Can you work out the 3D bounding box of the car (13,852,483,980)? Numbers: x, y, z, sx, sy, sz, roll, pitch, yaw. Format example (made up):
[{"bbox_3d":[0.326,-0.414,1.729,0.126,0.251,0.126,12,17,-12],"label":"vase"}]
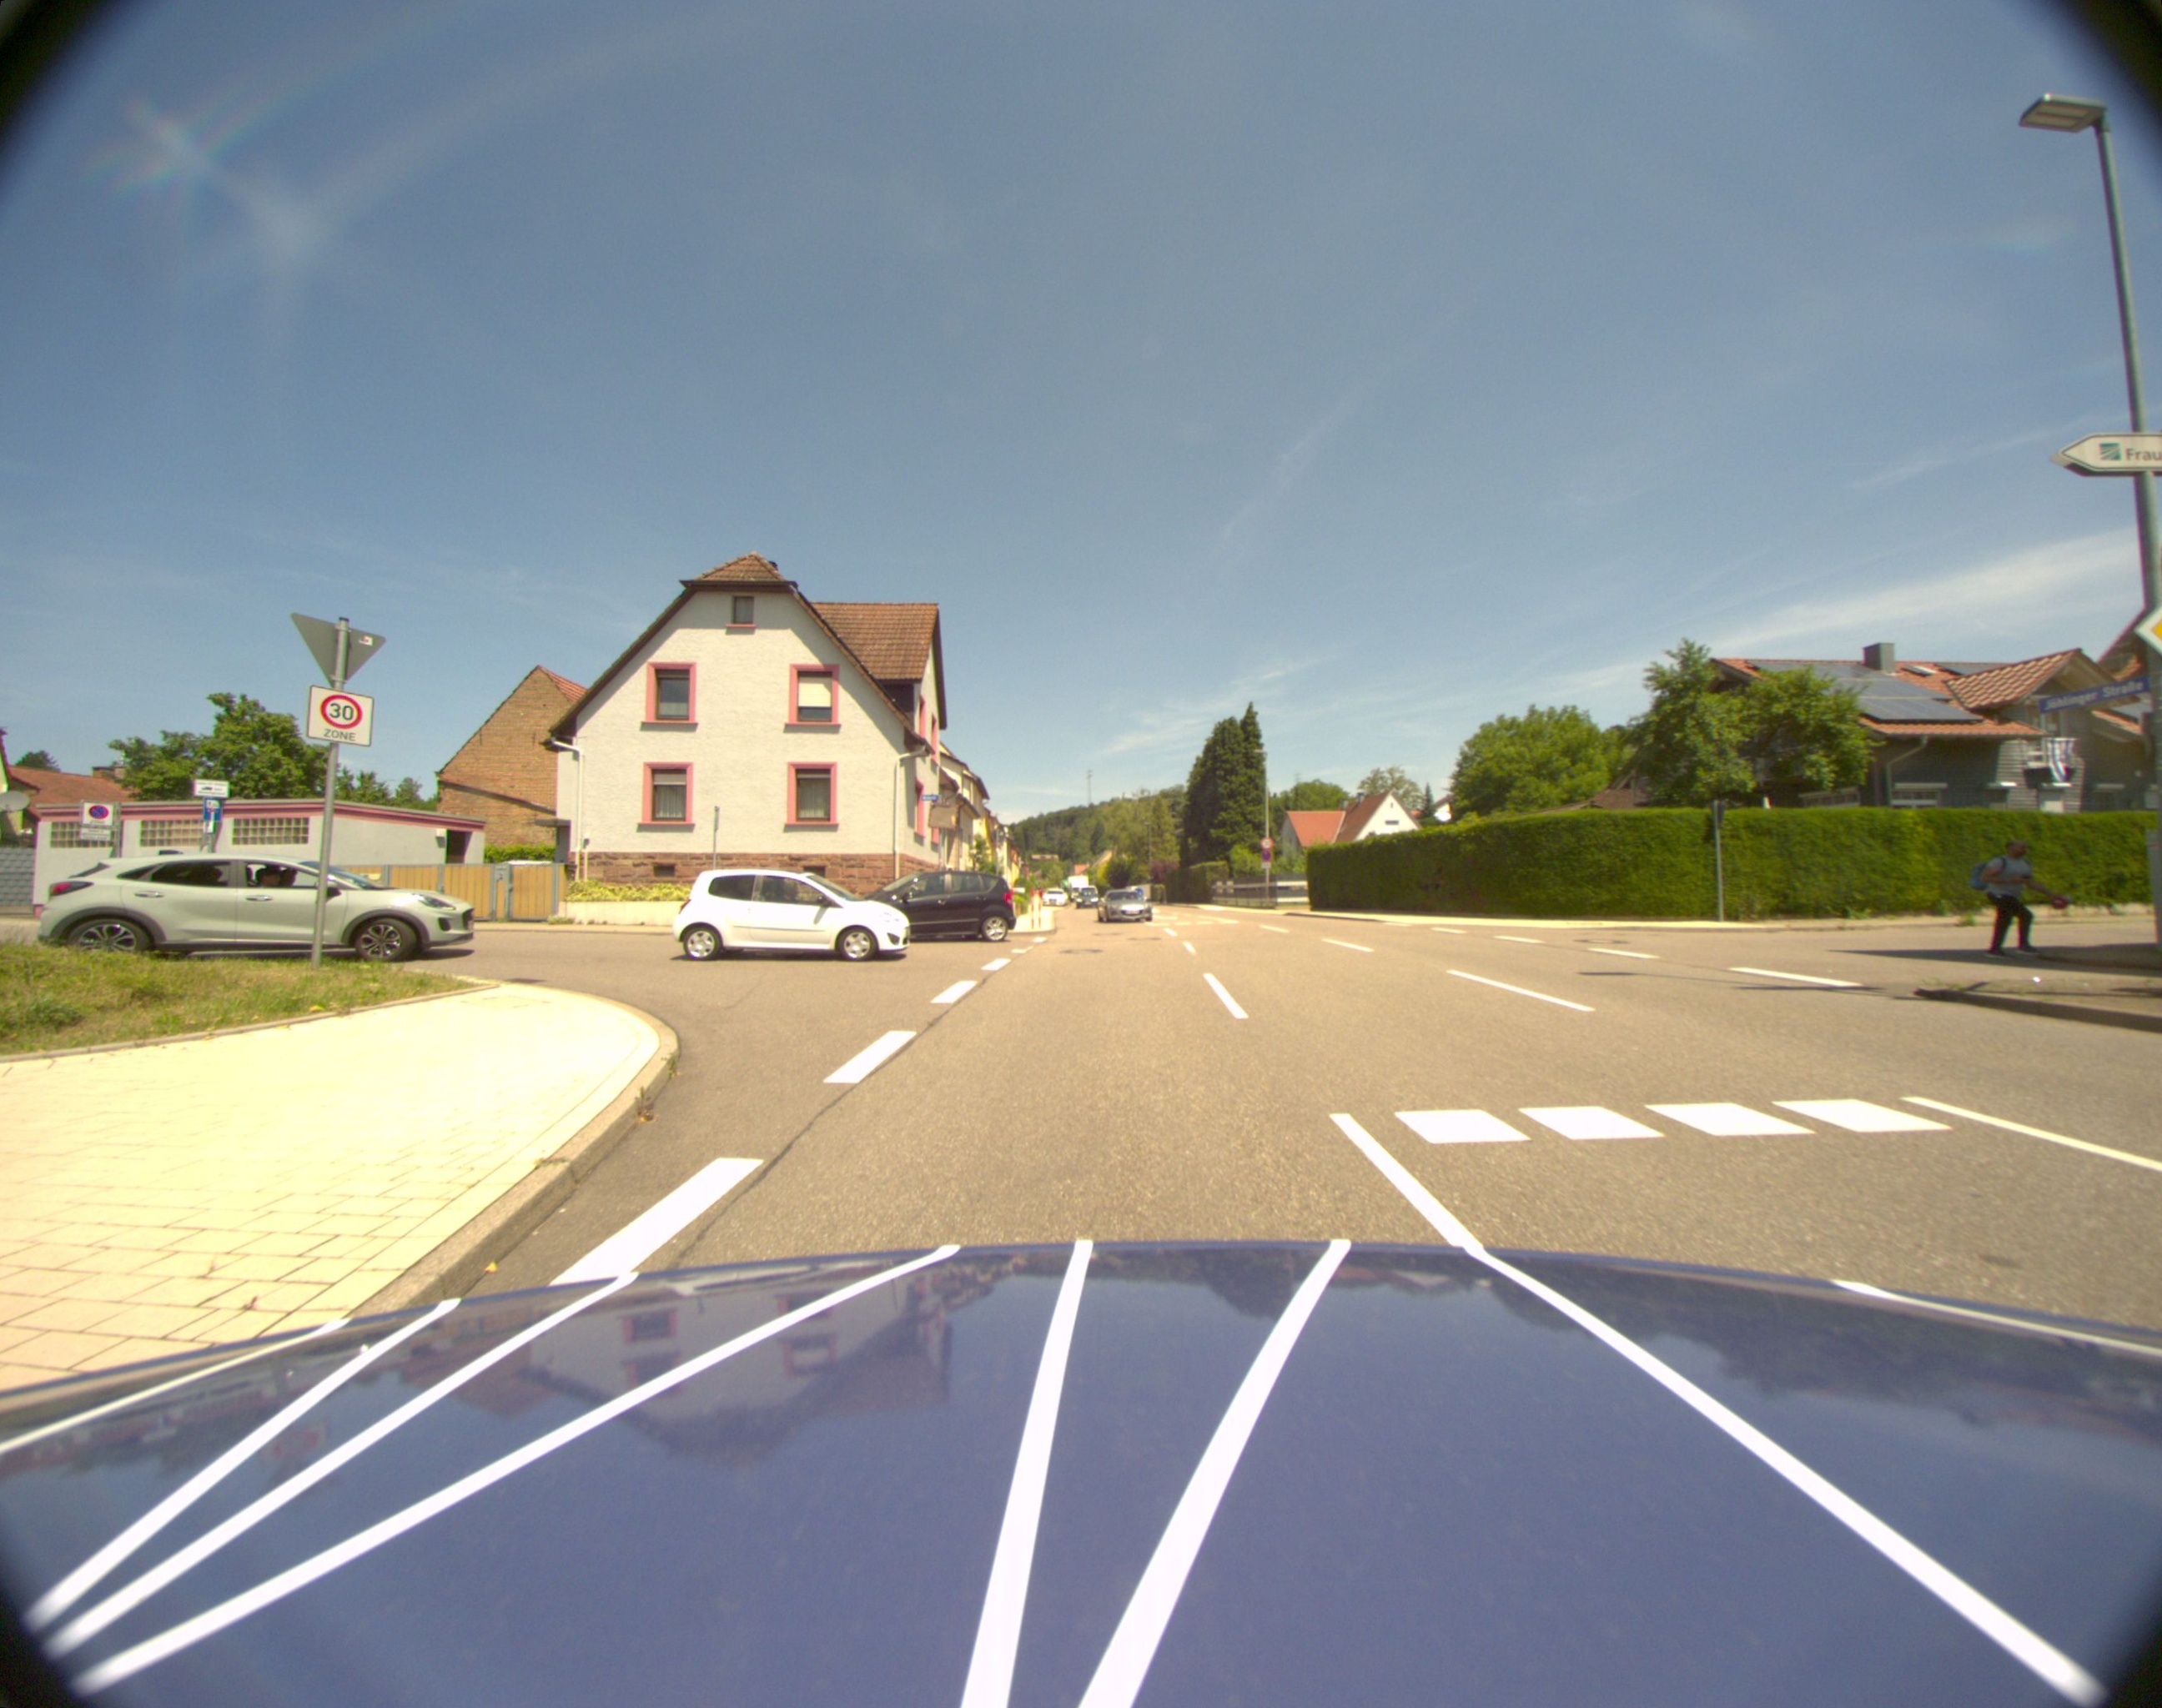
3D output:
[{"bbox_3d":[-11.396,0.861,10.909,4.134,1.526,1.772,3,-2,-30],"label":"car"}]

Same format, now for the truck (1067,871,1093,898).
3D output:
[{"bbox_3d":[-0.215,4.101,102.665,3.150,3.465,8.274,-1,-2,-2],"label":"truck"}]

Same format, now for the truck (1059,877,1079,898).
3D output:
[{"bbox_3d":[-2.075,5.698,127.916,3.150,3.465,8.274,-1,-3,-2],"label":"truck"}]

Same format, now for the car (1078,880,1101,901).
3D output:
[{"bbox_3d":[0.821,3.766,78.789,1.999,2.001,4.549,-2,-2,-4],"label":"car"}]

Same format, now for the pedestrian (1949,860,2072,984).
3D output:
[{"bbox_3d":[13.610,0.963,11.147,0.729,1.719,0.856,-2,0,-4],"label":"pedestrian"}]

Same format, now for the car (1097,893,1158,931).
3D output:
[{"bbox_3d":[1.728,2.215,29.559,1.911,1.296,4.158,-2,-3,-3],"label":"car"}]

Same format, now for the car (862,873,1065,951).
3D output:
[{"bbox_3d":[-2.647,1.250,17.170,4.163,1.579,1.866,0,-3,-26],"label":"car"}]

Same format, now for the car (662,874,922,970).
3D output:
[{"bbox_3d":[-4.627,1.089,12.656,3.681,1.469,1.775,1,-1,-6],"label":"car"}]

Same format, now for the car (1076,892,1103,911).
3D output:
[{"bbox_3d":[0.621,3.708,59.309,1.865,1.440,4.001,-1,-3,-4],"label":"car"}]

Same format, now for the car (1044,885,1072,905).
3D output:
[{"bbox_3d":[-1.873,3.397,63.091,1.998,1.509,4.147,4,-3,2],"label":"car"}]
